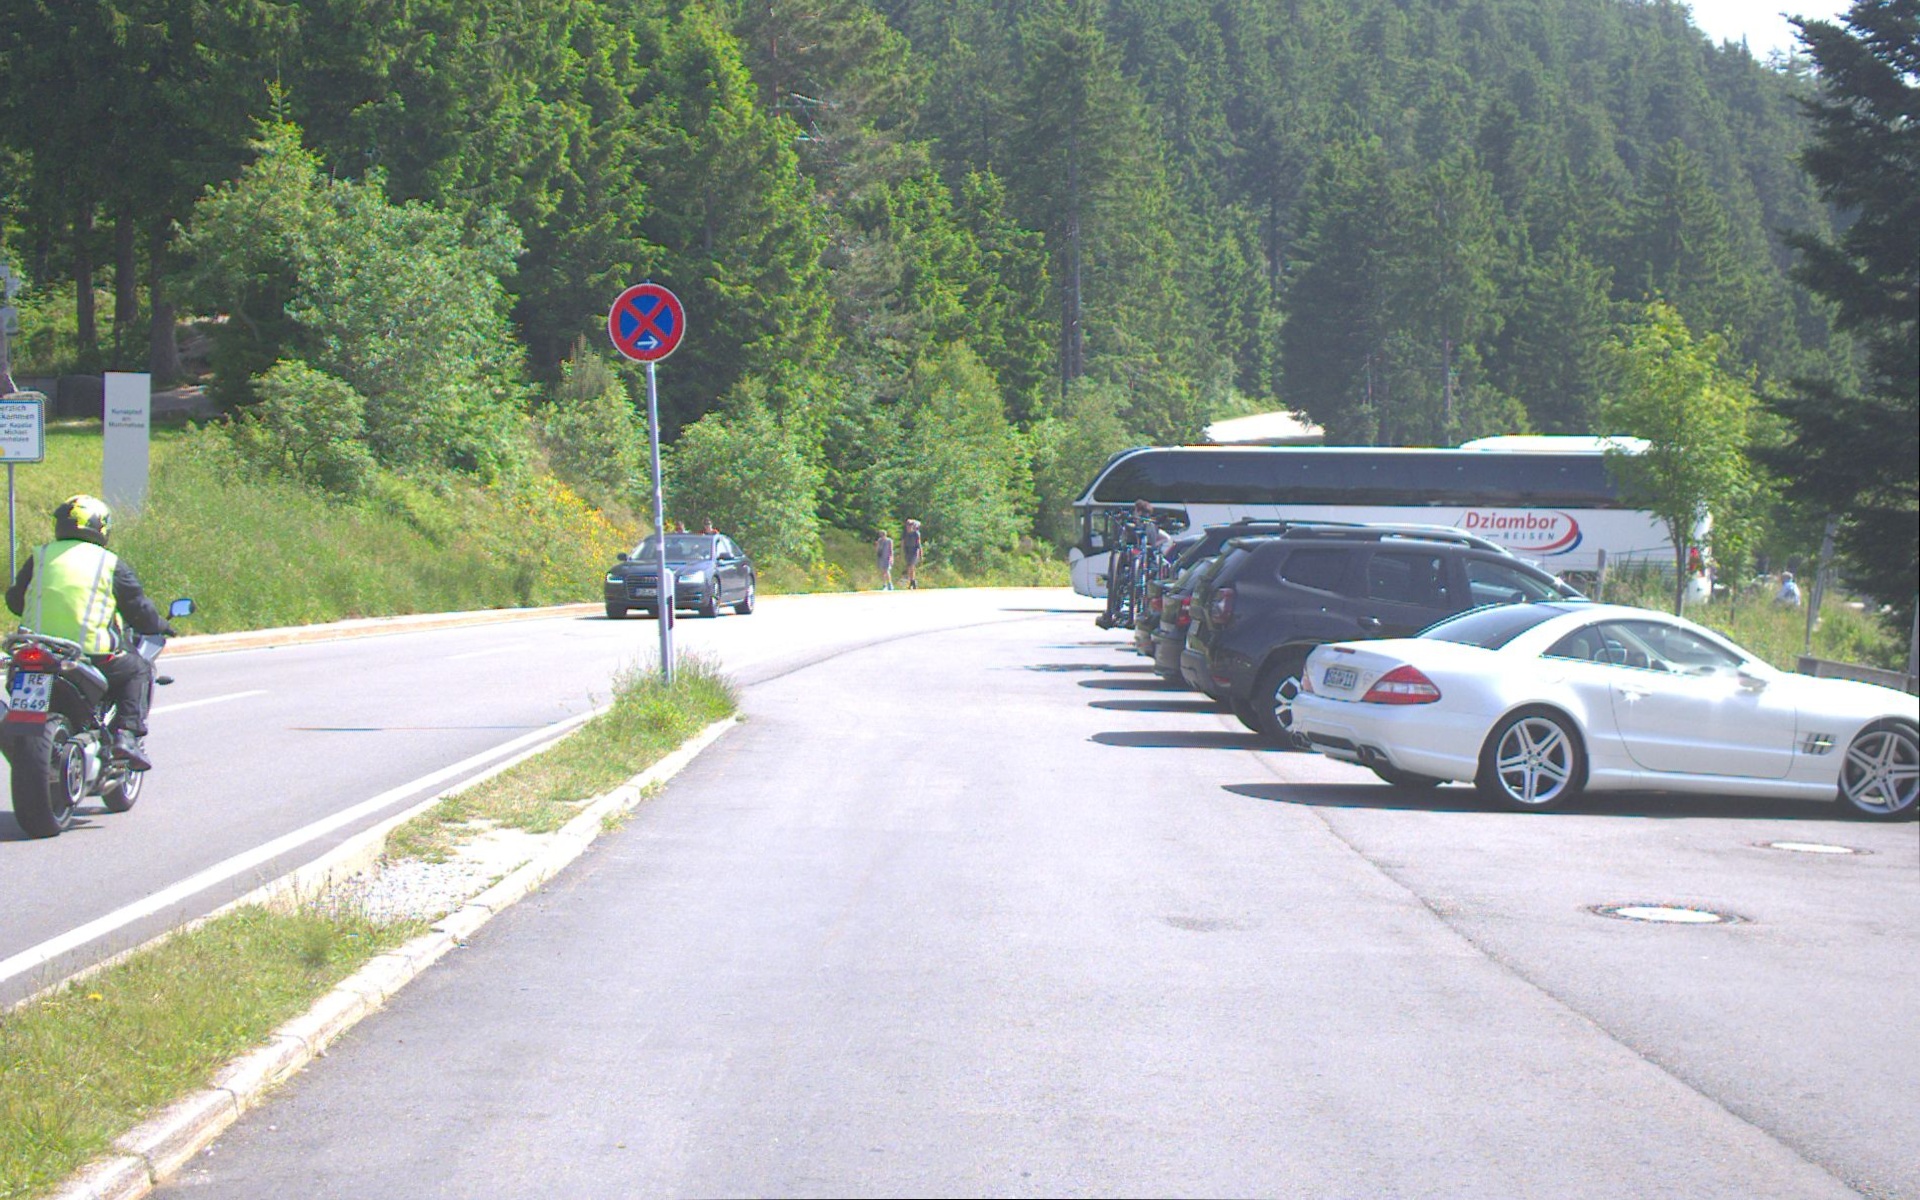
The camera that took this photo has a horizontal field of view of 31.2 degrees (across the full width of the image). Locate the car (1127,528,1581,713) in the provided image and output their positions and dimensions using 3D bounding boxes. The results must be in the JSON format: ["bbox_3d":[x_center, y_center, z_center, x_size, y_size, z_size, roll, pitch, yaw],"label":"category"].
[{"bbox_3d":[3.713,0.173,32.958,3.986,1.448,2.001,3,3,-2],"label":"car"}]

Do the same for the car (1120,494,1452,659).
[{"bbox_3d":[4.119,-0.323,43.961,3.987,1.808,1.940,3,3,1],"label":"car"}]

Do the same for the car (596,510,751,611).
[{"bbox_3d":[-4.944,-0.709,59.867,1.994,1.656,4.000,-1,2,5],"label":"car"}]

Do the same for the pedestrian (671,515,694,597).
[{"bbox_3d":[-5.963,-0.951,73.846,0.414,1.741,0.457,-2,3,-2],"label":"pedestrian"}]

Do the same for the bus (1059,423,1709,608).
[{"bbox_3d":[8.640,-1.765,70.256,12.869,3.565,2.980,0,4,15],"label":"bus"}]

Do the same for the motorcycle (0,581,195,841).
[{"bbox_3d":[-4.394,0.497,16.695,0.822,1.173,2.286,0,0,1],"label":"motorcycle"}]

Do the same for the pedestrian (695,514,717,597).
[{"bbox_3d":[-5.430,-0.952,73.547,0.394,1.741,0.406,-2,3,-2],"label":"pedestrian"}]

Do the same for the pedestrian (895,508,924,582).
[{"bbox_3d":[-1.402,-1.522,95.354,0.732,2.007,0.862,-2,0,-2],"label":"pedestrian"}]

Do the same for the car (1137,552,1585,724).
[{"bbox_3d":[3.464,0.317,30.124,3.635,1.299,1.641,2,3,-2],"label":"car"}]

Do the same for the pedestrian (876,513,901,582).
[{"bbox_3d":[-2.008,-1.471,96.387,0.622,1.893,0.655,-2,0,-2],"label":"pedestrian"}]

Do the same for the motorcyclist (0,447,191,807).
[{"bbox_3d":[-4.398,0.126,16.647,1.025,1.669,1.293,-1,0,1],"label":"motorcyclist"}]

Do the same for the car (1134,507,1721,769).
[{"bbox_3d":[3.550,0.268,26.552,3.986,1.693,2.001,3,2,-9],"label":"car"}]

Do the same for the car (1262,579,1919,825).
[{"bbox_3d":[4.341,0.664,22.045,4.452,1.294,1.583,3,1,-18],"label":"car"}]

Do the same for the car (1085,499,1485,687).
[{"bbox_3d":[3.429,-0.099,36.852,3.987,1.713,1.868,3,3,-1],"label":"car"}]
